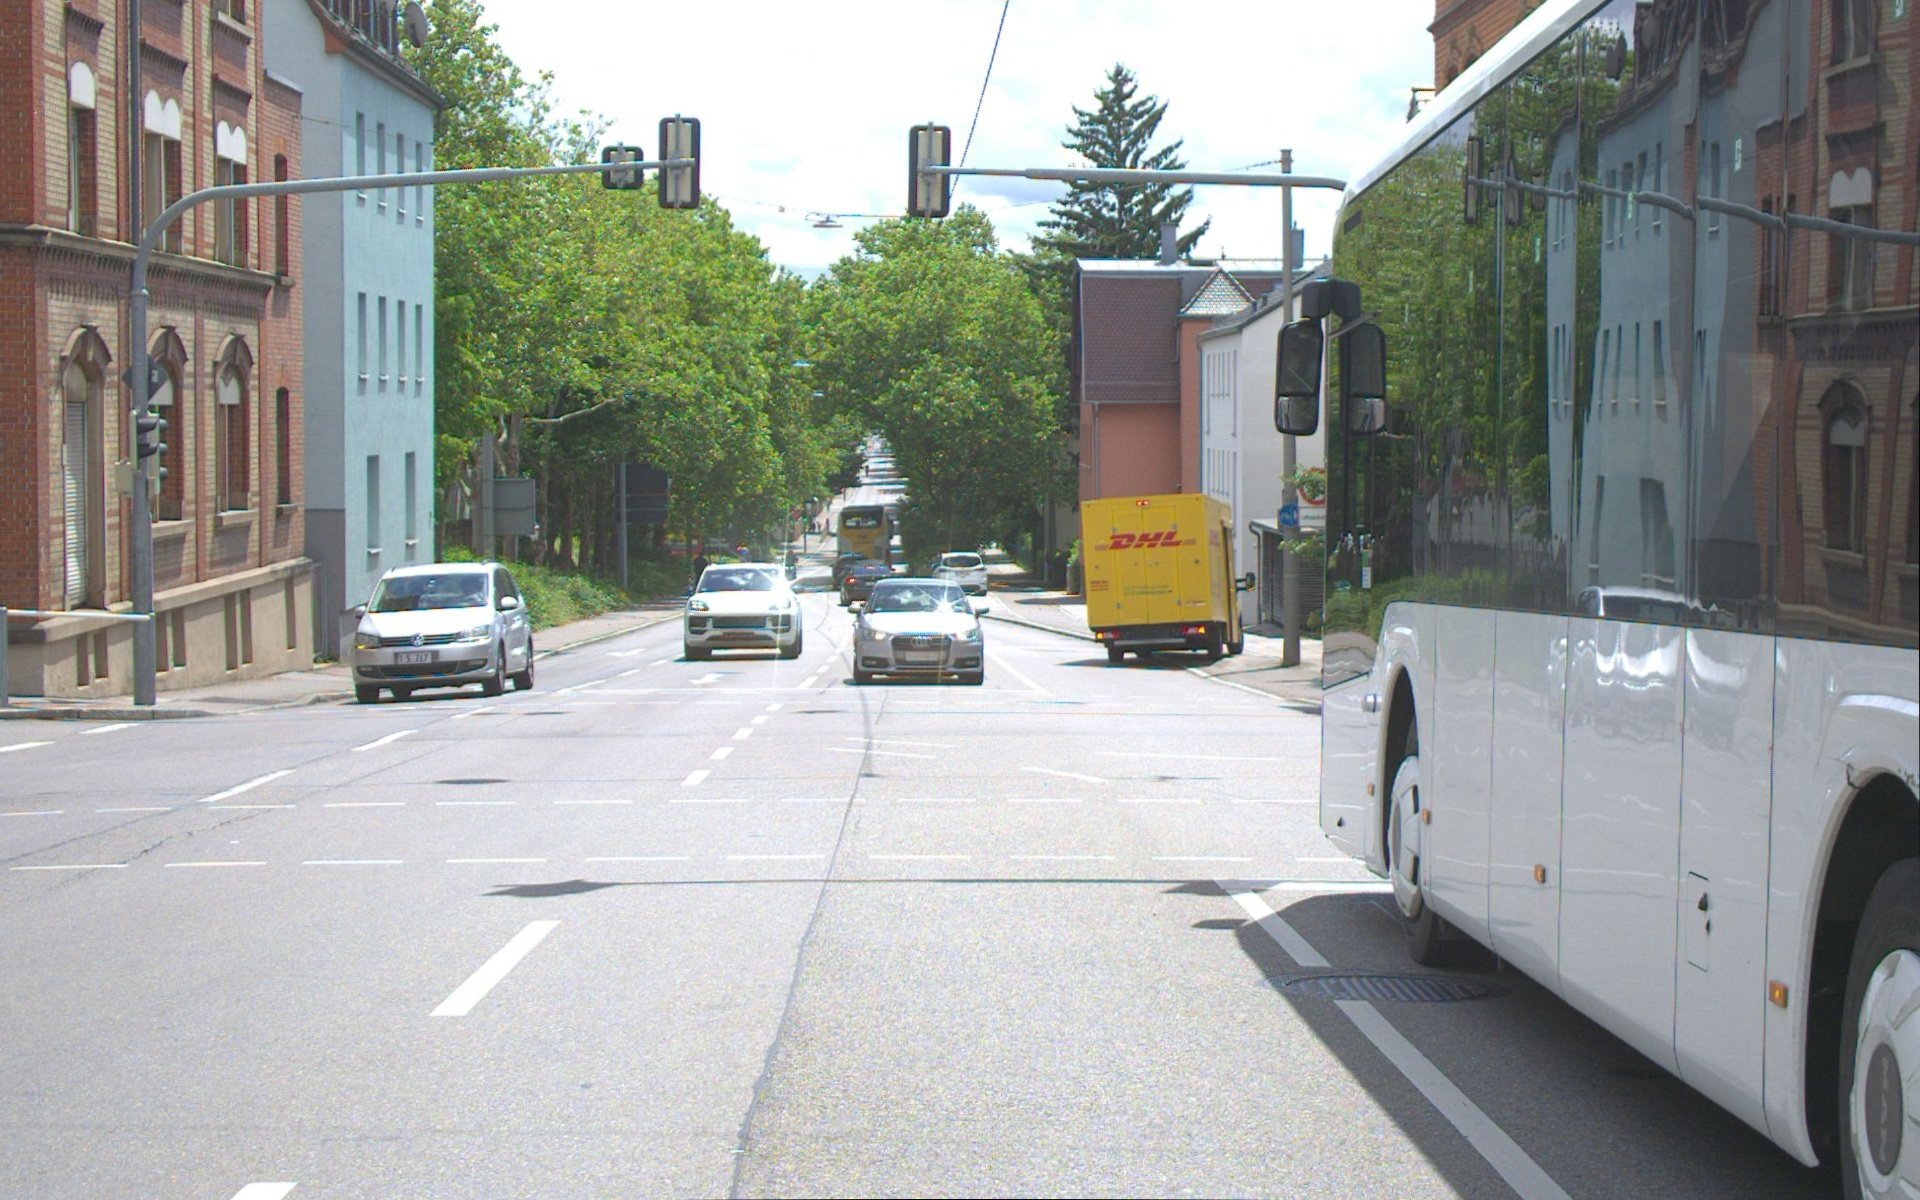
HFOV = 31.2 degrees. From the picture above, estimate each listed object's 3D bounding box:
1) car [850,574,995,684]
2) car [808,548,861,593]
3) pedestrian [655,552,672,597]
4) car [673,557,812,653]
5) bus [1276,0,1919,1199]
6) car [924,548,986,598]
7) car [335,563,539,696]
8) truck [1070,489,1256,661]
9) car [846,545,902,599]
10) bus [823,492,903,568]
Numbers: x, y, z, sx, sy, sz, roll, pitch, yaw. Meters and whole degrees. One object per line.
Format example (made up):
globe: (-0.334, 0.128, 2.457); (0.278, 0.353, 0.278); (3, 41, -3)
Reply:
car: (-0.511, 0.355, 46.678); (1.865, 1.363, 4.547); (-1, 1, -1)
car: (-5.305, -1.257, 144.816); (2.091, 1.824, 4.143); (0, 1, -4)
pedestrian: (-11.779, -1.013, 136.549); (0.606, 1.752, 0.654); (-1, 1, -2)
car: (-3.818, 0.054, 61.027); (2.207, 1.607, 4.547); (-1, 1, -1)
bus: (2.977, -0.284, 9.298); (2.904, 3.498, 12.488); (1, 1, -1)
car: (-0.211, -1.039, 129.483); (2.091, 1.824, 4.143); (0, 1, -4)
car: (-6.529, 0.332, 43.325); (1.935, 1.558, 4.389); (-1, 1, -1)
truck: (3.742, -0.449, 61.978); (2.542, 2.903, 6.569); (1, 1, 10)
car: (-2.891, -0.964, 116.602); (1.819, 1.778, 4.000); (-1, 1, -1)
bus: (-4.911, -3.460, 171.706); (3.300, 3.618, 11.246); (-1, 1, -5)
